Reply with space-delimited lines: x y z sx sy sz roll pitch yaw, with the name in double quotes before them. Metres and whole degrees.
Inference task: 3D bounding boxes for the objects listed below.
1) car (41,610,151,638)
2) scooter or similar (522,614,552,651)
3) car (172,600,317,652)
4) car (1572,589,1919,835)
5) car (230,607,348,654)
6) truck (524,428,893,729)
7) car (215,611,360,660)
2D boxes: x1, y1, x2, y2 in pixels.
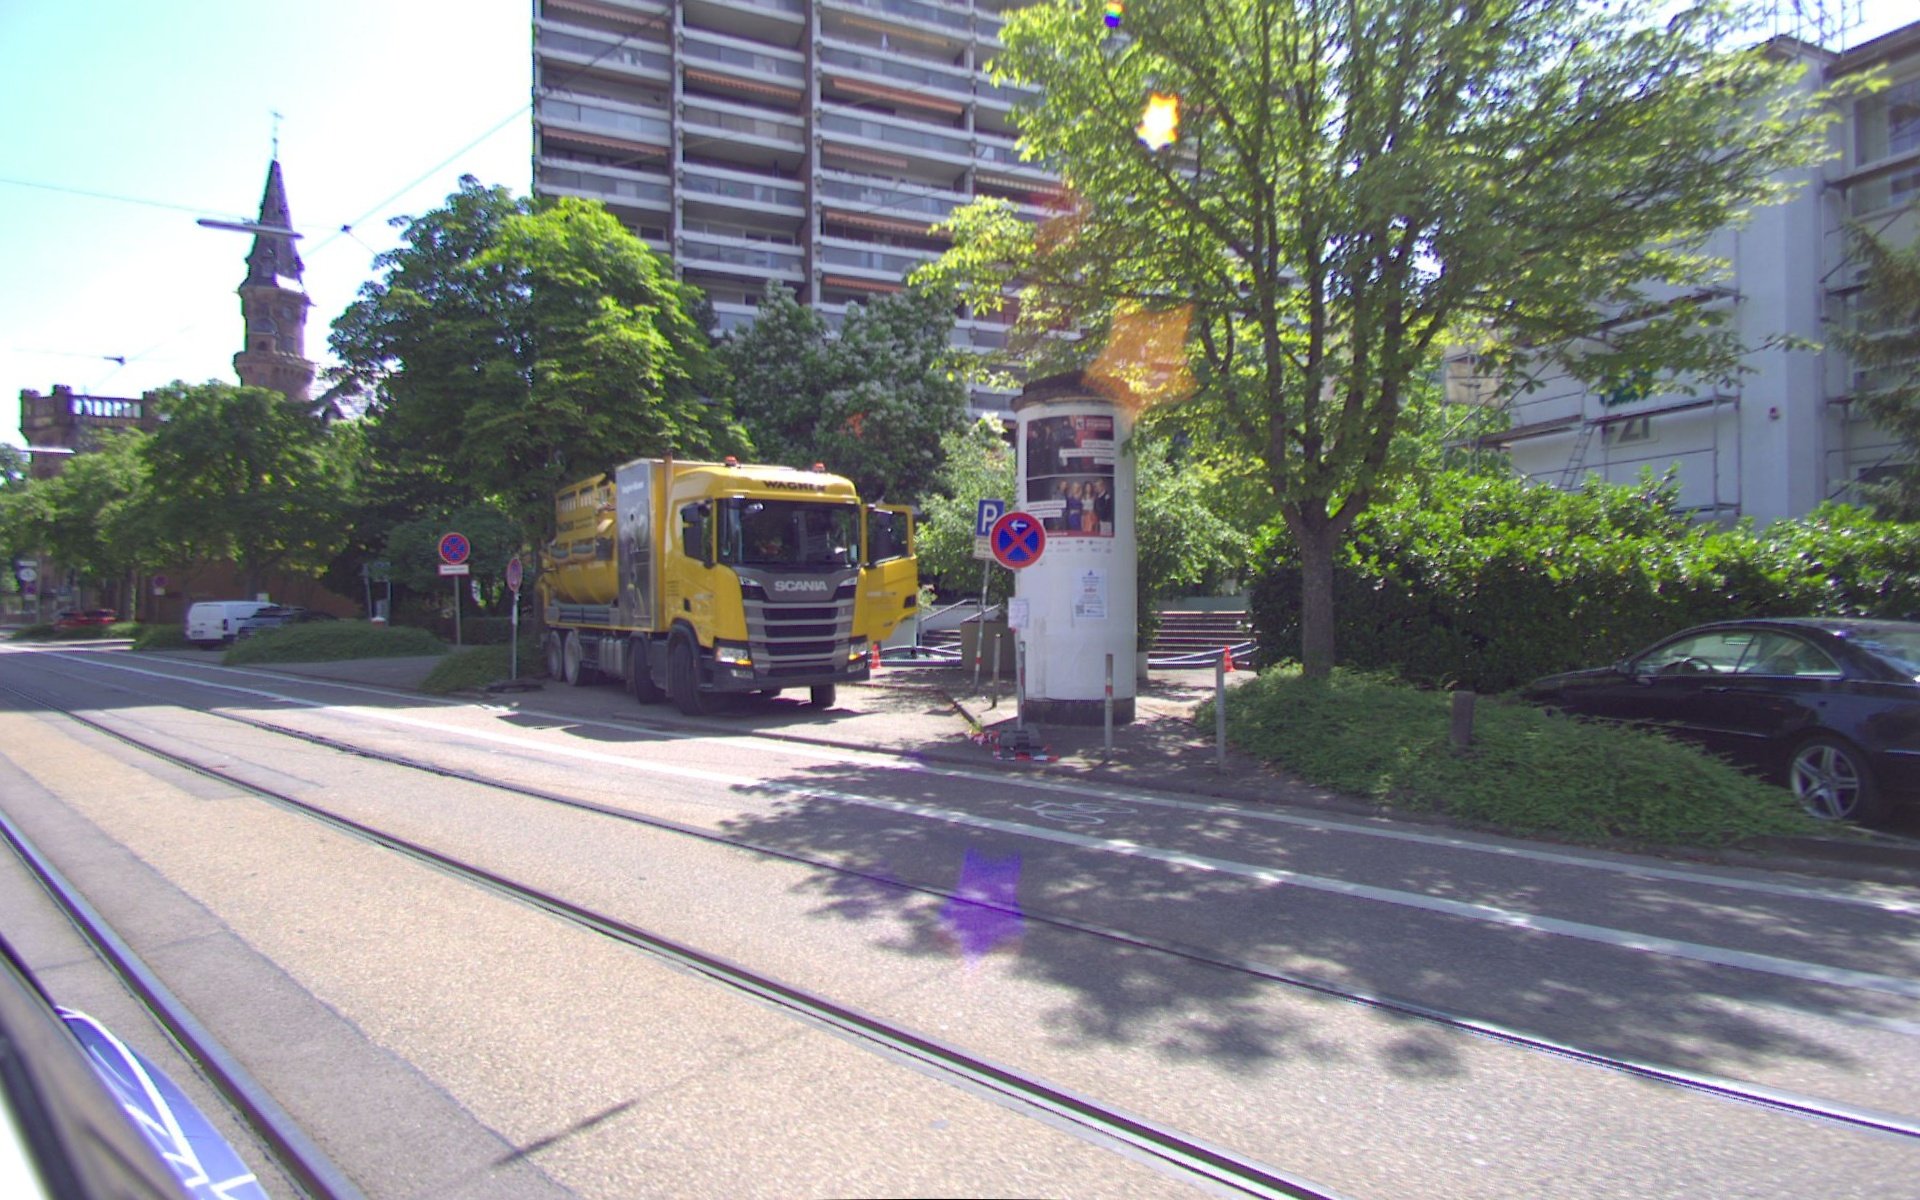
"car" -51.294 1.400 60.214 1.981 1.578 4.761 -1 0 12
"scooter or similar" -13.133 0.995 31.394 0.379 1.132 1.370 -1 0 -44
"car" -27.029 0.940 38.425 1.879 1.804 4.537 -1 0 8
"car" 6.654 0.731 7.468 1.735 1.518 3.714 1 -2 -6
"car" -24.511 1.063 37.138 1.747 1.544 3.951 -1 0 -1
"truck" -5.229 -0.313 18.281 2.679 3.870 10.992 -1 1 -35
"car" -22.205 1.126 33.635 1.749 1.405 4.444 -1 0 2
